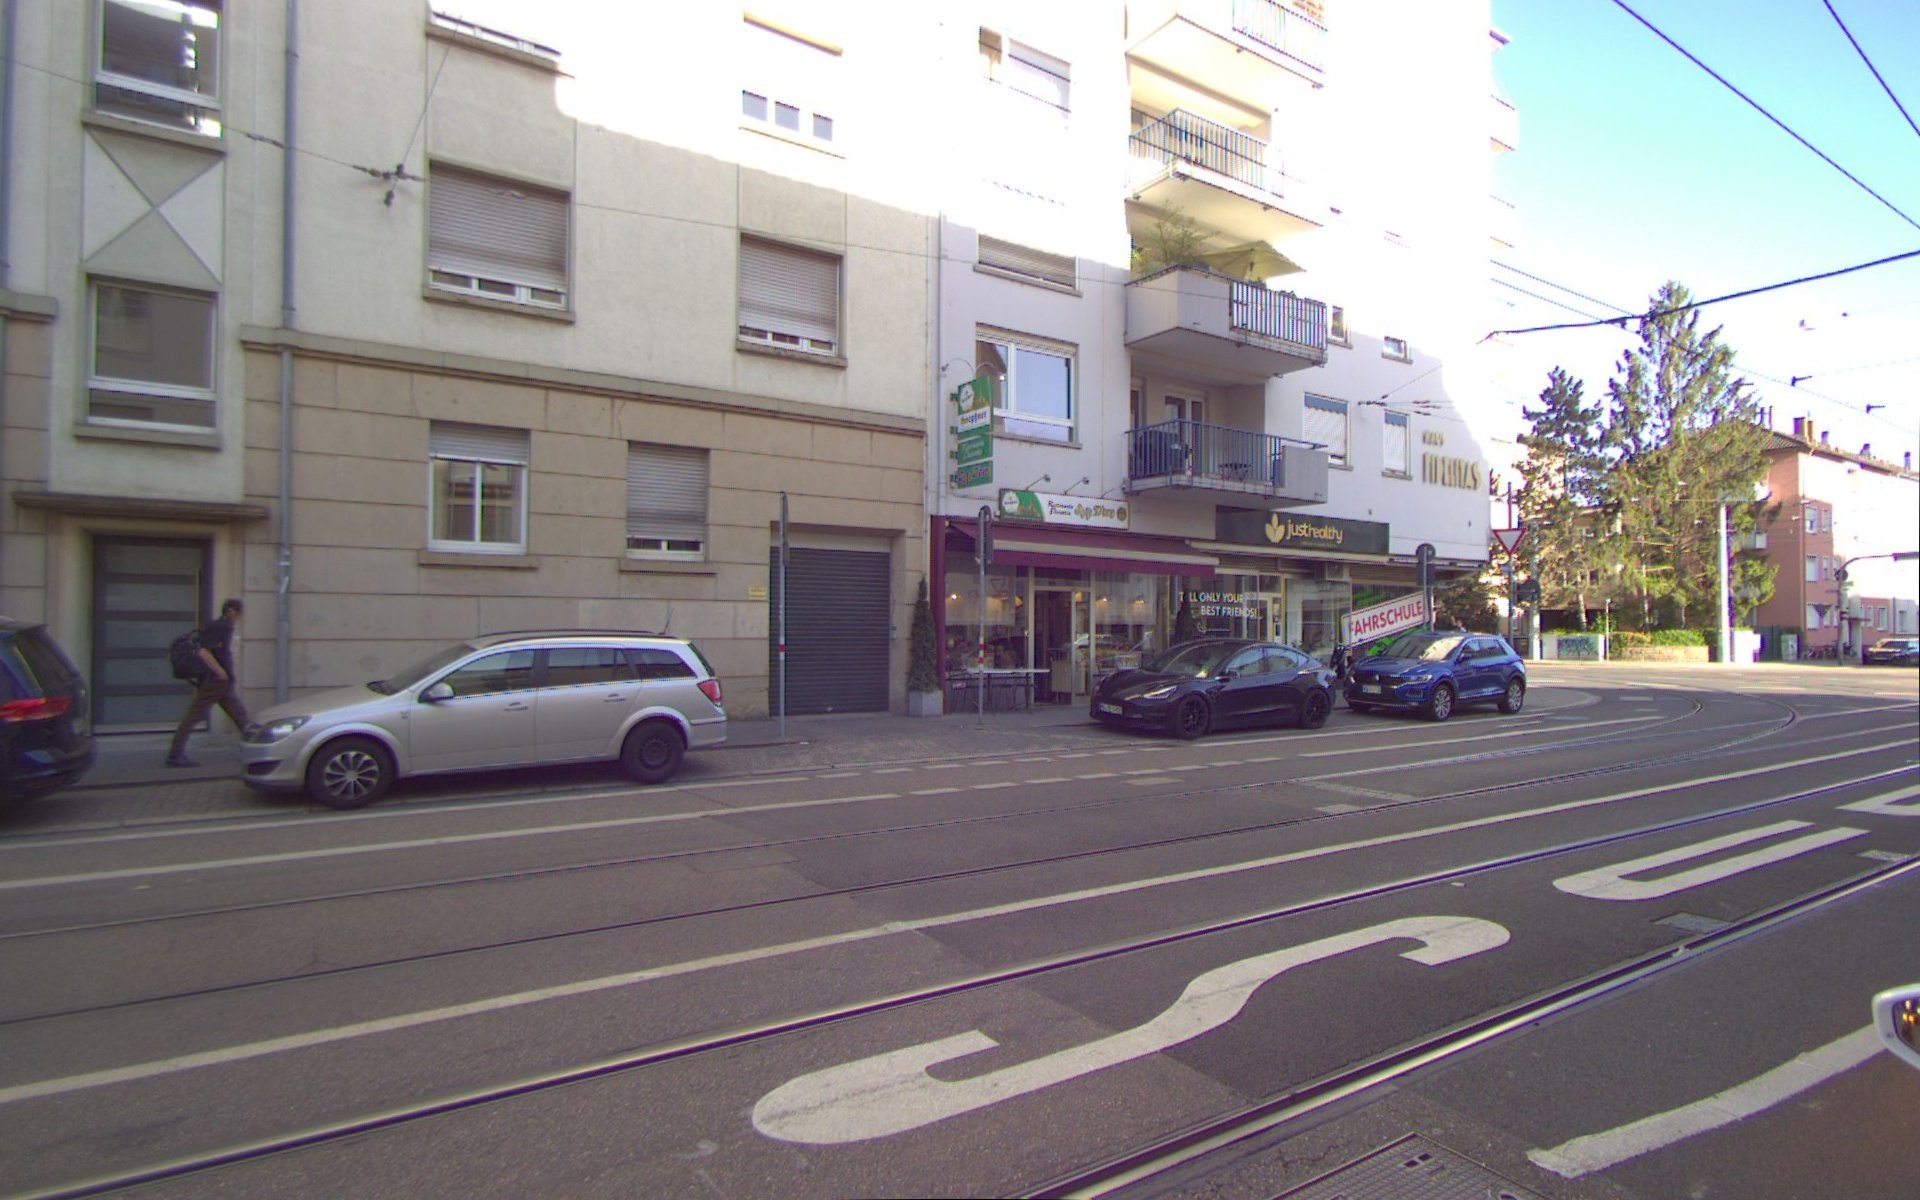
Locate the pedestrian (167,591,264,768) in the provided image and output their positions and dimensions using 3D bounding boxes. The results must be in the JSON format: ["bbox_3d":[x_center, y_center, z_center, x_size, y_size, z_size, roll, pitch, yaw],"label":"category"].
[{"bbox_3d":[-7.626,0.791,10.315,0.722,1.731,0.600,1,-2,-32],"label":"pedestrian"}]

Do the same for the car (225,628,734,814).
[{"bbox_3d":[-4.701,1.054,10.212,4.343,1.497,1.785,1,-1,-34],"label":"car"}]

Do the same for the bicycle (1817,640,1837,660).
[{"bbox_3d":[47.610,2.747,55.167,1.895,1.097,0.532,2,-2,-41],"label":"bicycle"}]

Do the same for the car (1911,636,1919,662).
[{"bbox_3d":[58.131,2.897,59.454,3.961,1.539,1.938,1,-2,-36],"label":"car"}]

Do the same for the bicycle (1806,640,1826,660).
[{"bbox_3d":[47.182,2.735,55.342,1.895,1.097,0.532,2,-2,-41],"label":"bicycle"}]

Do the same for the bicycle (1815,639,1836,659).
[{"bbox_3d":[50.745,2.860,58.883,1.892,1.097,0.533,1,-2,-37],"label":"bicycle"}]

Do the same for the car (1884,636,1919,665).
[{"bbox_3d":[54.277,2.840,57.015,4.006,1.539,1.938,1,-2,-36],"label":"car"}]

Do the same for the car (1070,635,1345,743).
[{"bbox_3d":[4.018,1.319,16.041,4.442,1.422,1.714,1,1,-34],"label":"car"}]

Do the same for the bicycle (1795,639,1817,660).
[{"bbox_3d":[46.887,2.725,55.634,1.895,1.097,0.634,2,-2,-41],"label":"bicycle"}]

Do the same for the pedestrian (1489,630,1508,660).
[{"bbox_3d":[31.123,2.607,58.091,0.800,1.725,0.676,-1,-2,44],"label":"pedestrian"}]

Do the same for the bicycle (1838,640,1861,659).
[{"bbox_3d":[53.161,2.938,60.028,1.892,1.097,0.605,1,-2,-37],"label":"bicycle"}]

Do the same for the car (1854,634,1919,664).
[{"bbox_3d":[49.729,2.617,53.785,3.961,1.539,1.938,1,-2,-36],"label":"car"}]

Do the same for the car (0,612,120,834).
[{"bbox_3d":[-8.988,0.884,7.190,4.343,1.620,1.785,1,-1,-34],"label":"car"}]

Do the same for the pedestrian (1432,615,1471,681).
[{"bbox_3d":[14.002,1.354,28.654,0.707,1.859,0.771,0,-1,-3],"label":"pedestrian"}]

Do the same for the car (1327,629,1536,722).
[{"bbox_3d":[8.997,1.349,19.083,4.072,1.525,1.714,1,1,-34],"label":"car"}]
